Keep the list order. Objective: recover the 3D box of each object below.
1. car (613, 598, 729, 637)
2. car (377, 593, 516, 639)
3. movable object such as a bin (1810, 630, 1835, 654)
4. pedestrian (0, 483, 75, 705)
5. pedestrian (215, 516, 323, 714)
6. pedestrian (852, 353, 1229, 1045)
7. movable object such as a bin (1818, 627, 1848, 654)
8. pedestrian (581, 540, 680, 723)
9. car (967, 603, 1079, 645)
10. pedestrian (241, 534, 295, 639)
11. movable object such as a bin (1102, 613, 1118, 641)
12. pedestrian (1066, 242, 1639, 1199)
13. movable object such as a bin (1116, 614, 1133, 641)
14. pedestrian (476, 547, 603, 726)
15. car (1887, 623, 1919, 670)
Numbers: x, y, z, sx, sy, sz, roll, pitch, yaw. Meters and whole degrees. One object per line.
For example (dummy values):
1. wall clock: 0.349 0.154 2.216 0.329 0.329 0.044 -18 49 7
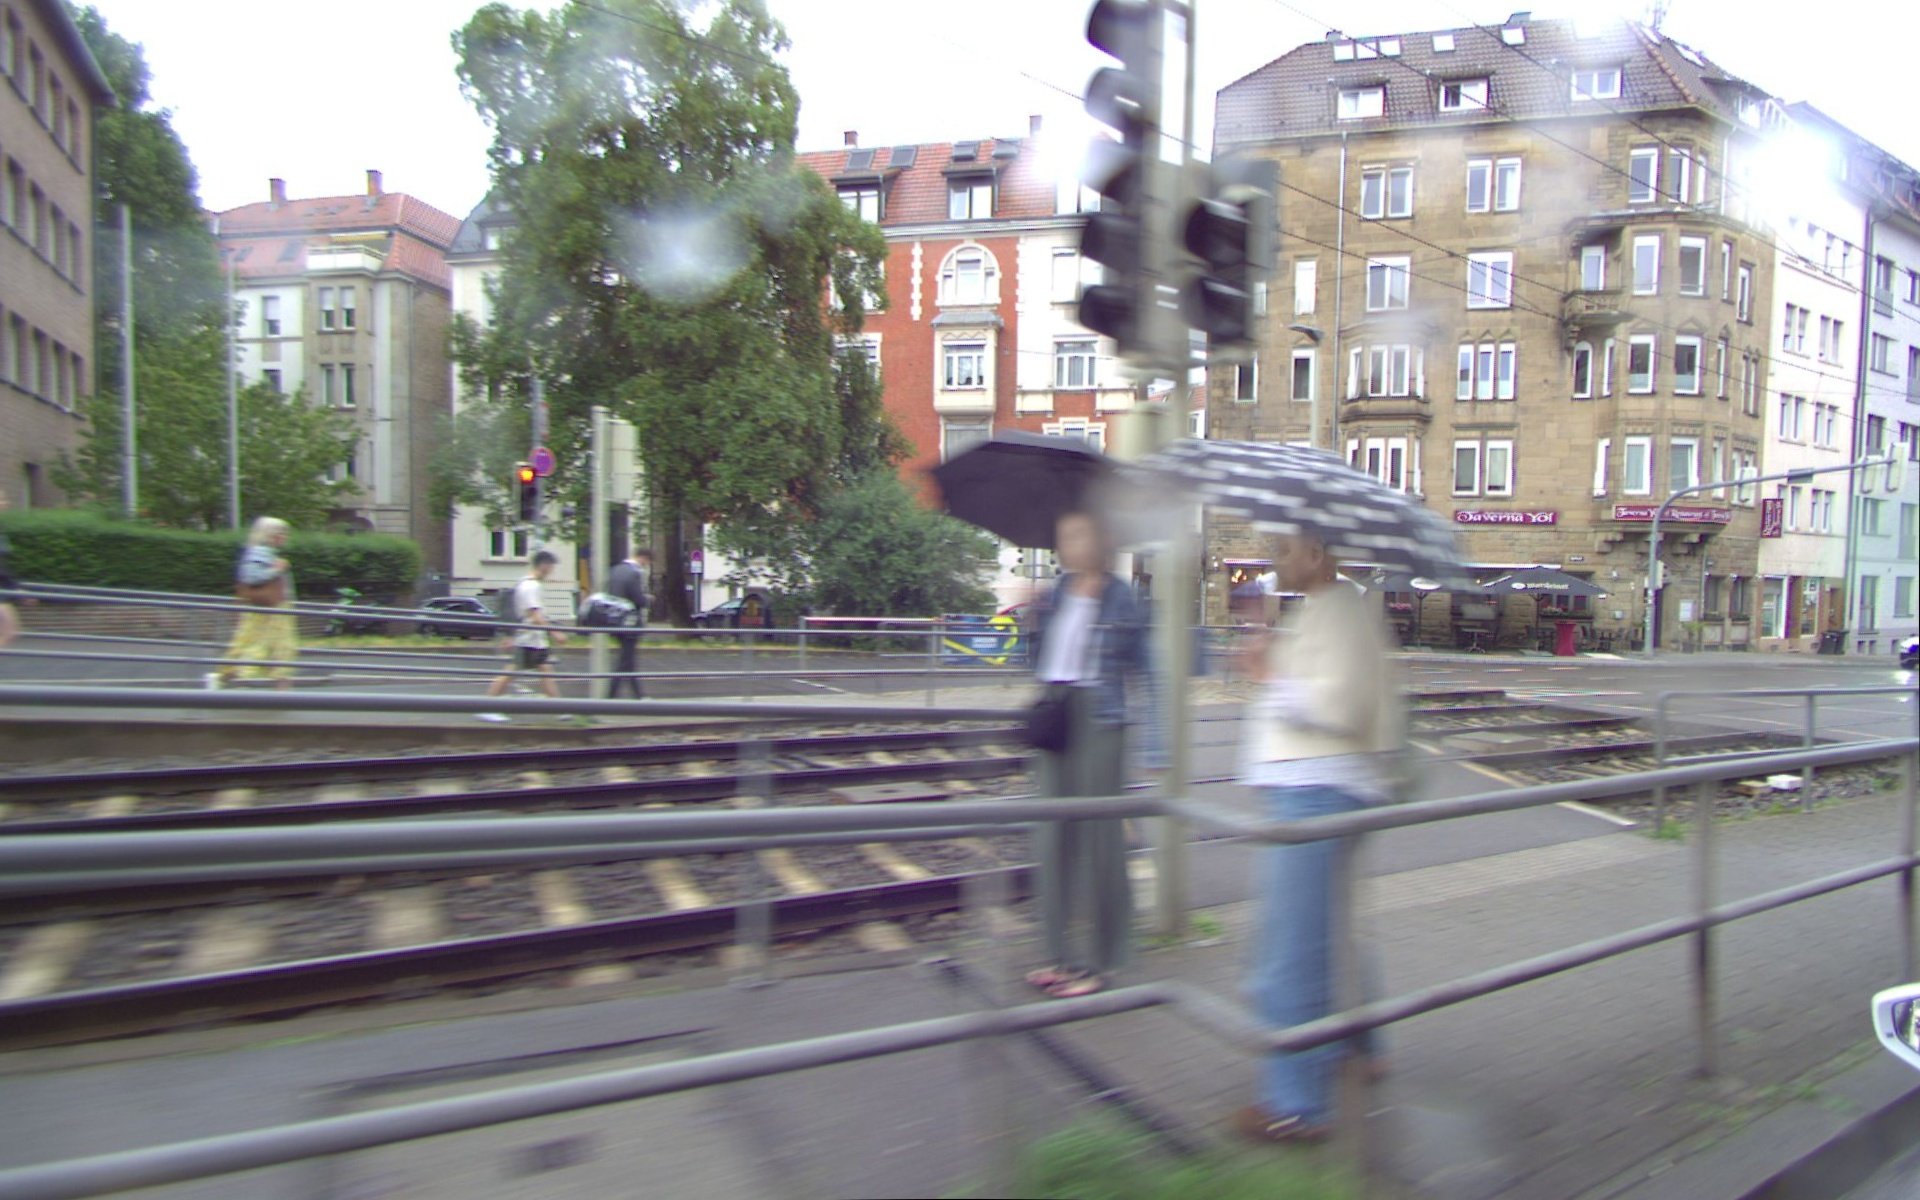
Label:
1. car: -11.559 0.699 40.264 4.059 1.421 1.743 1 -1 12
2. car: -17.377 0.539 34.044 3.919 1.421 1.743 1 -1 12
3. movable object such as a bin: 36.509 1.773 42.500 0.553 0.923 0.590 2 4 -31
4. pedestrian: -7.817 -0.077 8.031 0.873 1.718 0.740 5 0 -31
5. pedestrian: -6.121 0.130 8.937 0.633 1.669 0.740 4 0 -30
6. pedestrian: 0.256 0.297 3.579 0.936 2.040 0.892 1 1 -30
7. movable object such as a bin: 37.166 1.731 42.771 0.679 1.088 0.709 2 4 -31
8. pedestrian: -3.447 0.330 10.507 0.790 1.842 0.508 4 0 -30
9. car: 2.353 0.867 37.155 3.919 1.421 1.743 1 -1 12
10. pedestrian: -11.462 -0.204 16.653 0.681 1.697 0.600 1 0 -33
11. movable object such as a bin: 5.903 1.056 39.535 0.540 1.056 0.722 1 0 1
12. pedestrian: 0.904 0.318 2.571 0.931 2.040 0.926 2 1 -14
13. movable object such as a bin: 6.485 1.080 39.531 0.540 1.056 0.722 1 0 1
14. pedestrian: -3.983 0.338 9.502 0.945 1.604 0.689 4 1 -31
15. car: 36.230 1.716 36.765 5.192 1.649 1.984 2 -1 -31
